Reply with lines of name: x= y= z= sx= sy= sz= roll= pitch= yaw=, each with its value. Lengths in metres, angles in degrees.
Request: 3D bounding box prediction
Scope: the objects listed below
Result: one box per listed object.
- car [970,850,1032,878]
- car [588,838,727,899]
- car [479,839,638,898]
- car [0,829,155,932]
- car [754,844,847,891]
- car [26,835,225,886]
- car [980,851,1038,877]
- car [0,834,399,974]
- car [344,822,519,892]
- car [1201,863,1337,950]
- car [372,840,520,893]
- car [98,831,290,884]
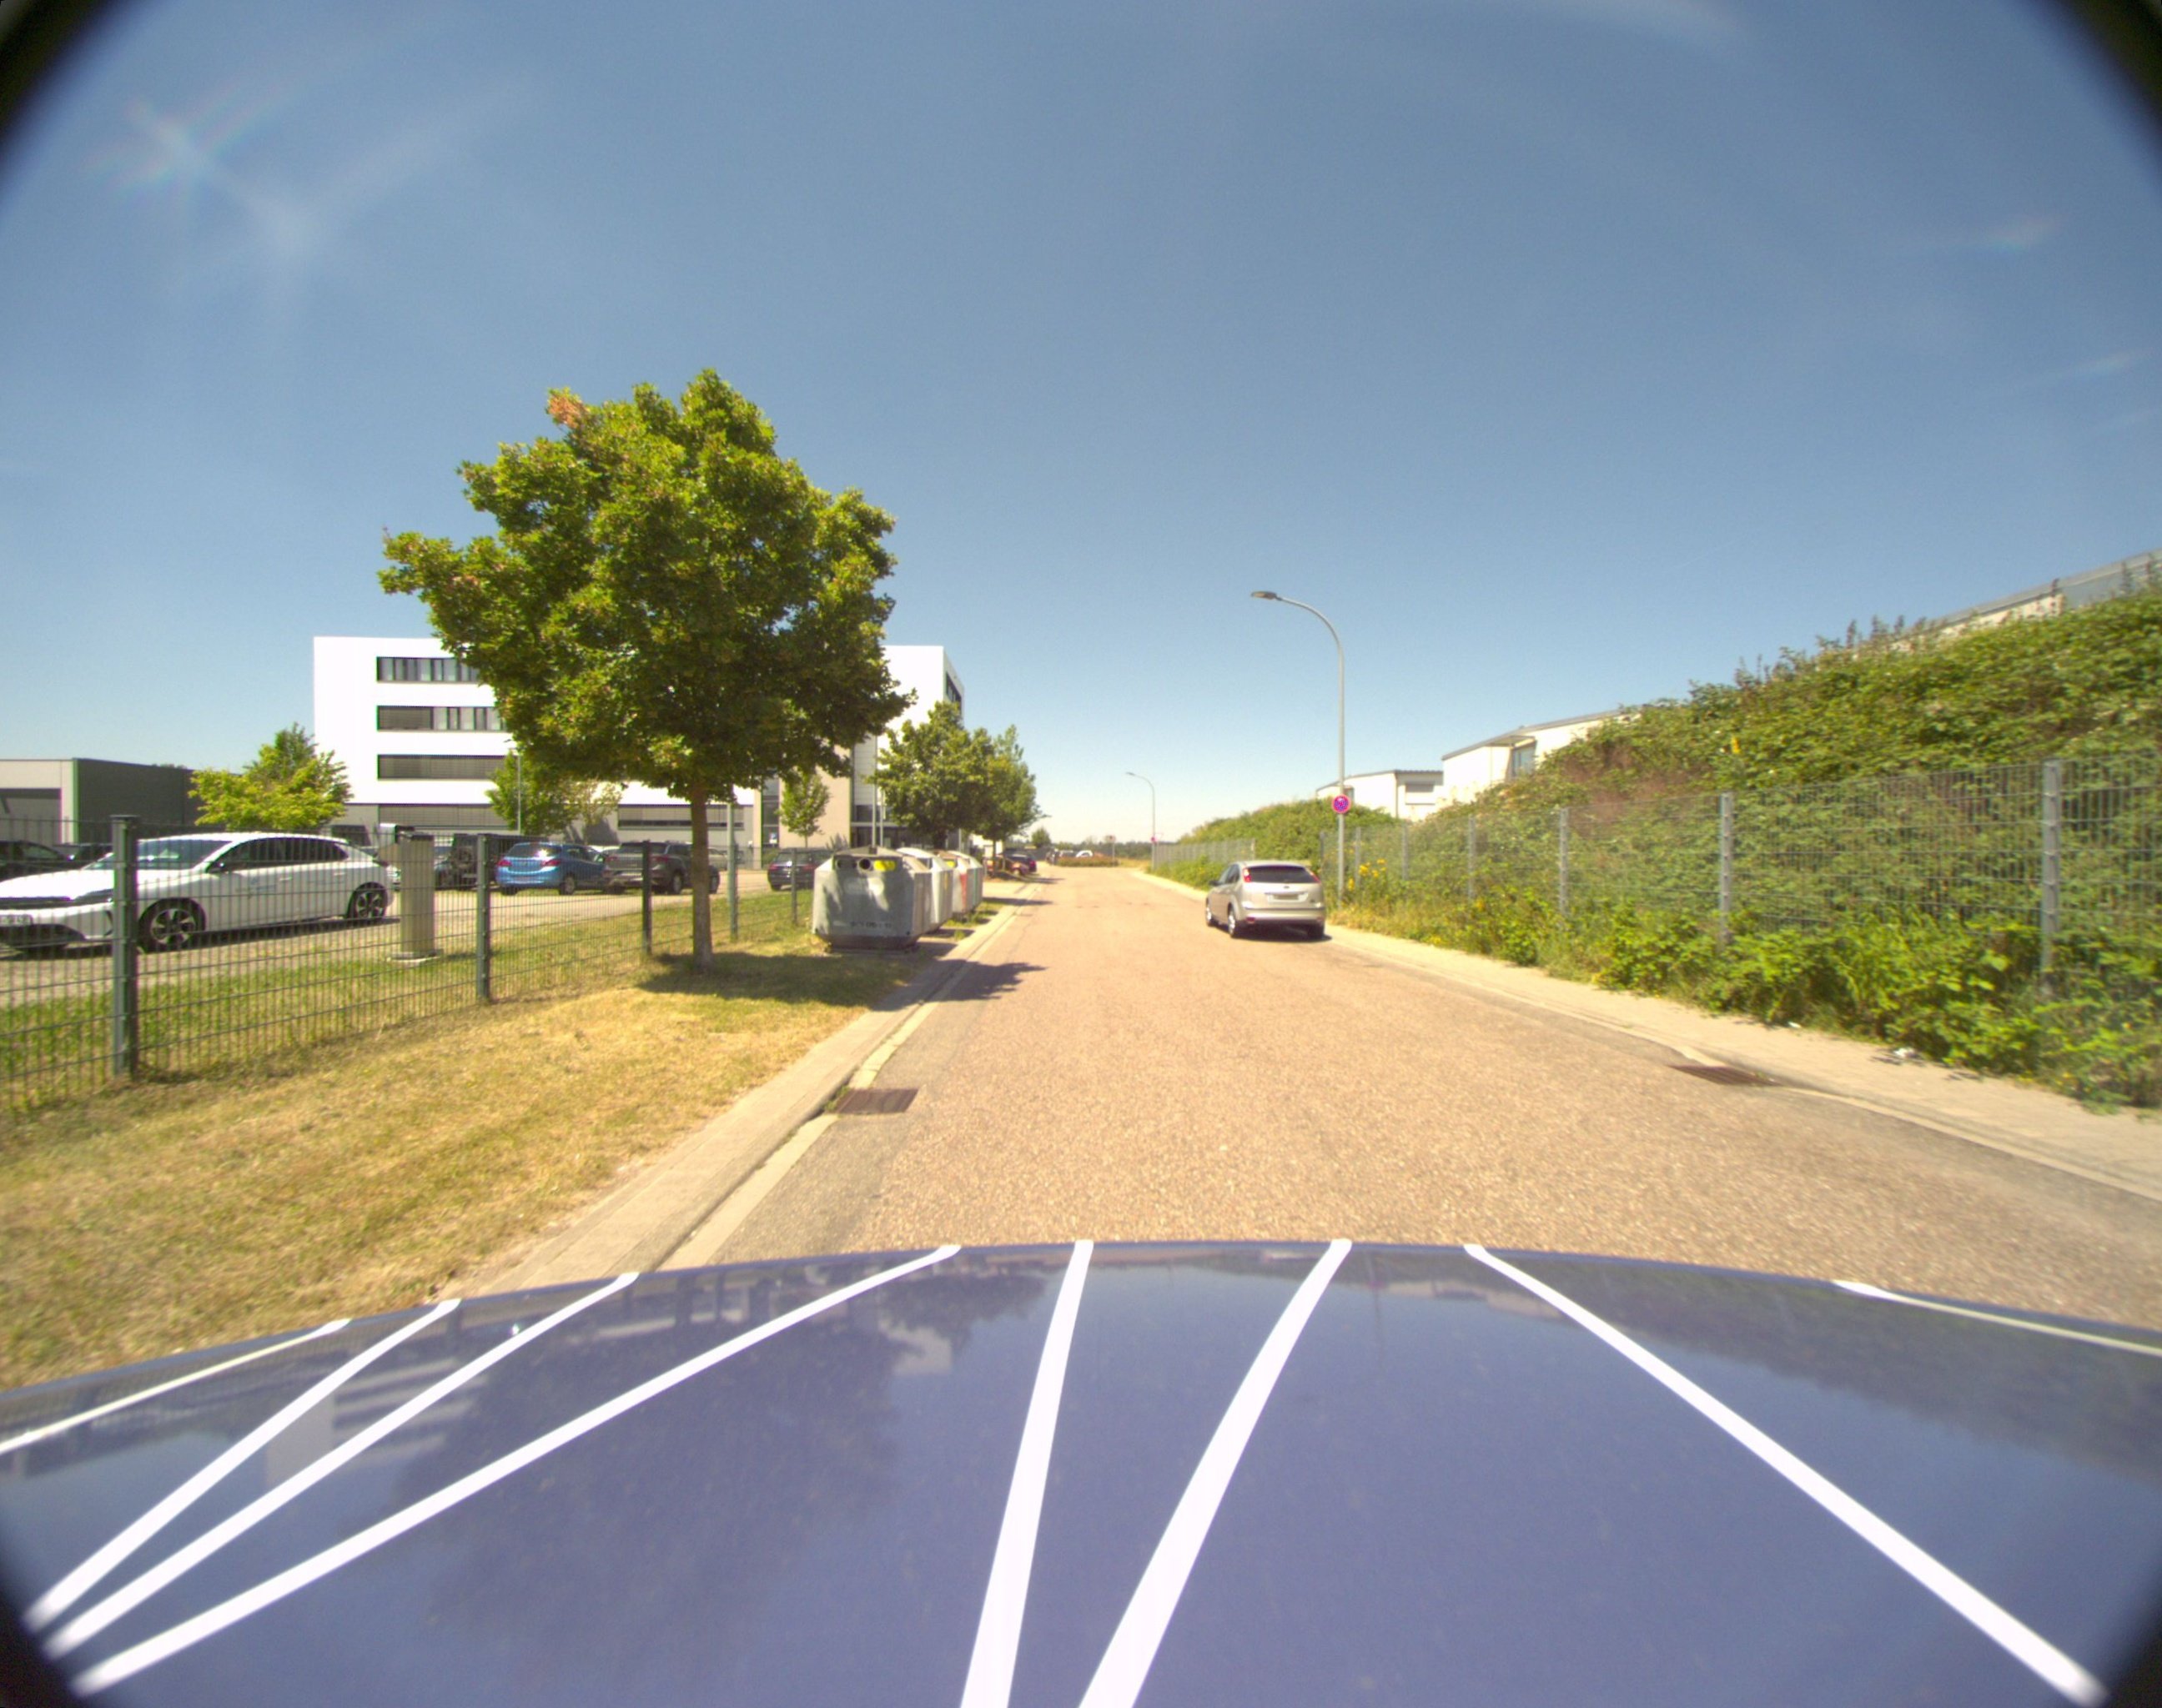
car: x=-5.370 y=0.644 z=51.308 sx=3.998 sy=1.694 sz=1.890 roll=-2 pitch=1 yaw=-2
car: x=-11.887 y=0.389 z=21.667 sx=1.831 sy=1.565 sz=3.924 roll=1 pitch=0 yaw=-1
car: x=-14.632 y=0.467 z=21.571 sx=1.831 sy=1.445 sz=3.926 roll=-2 pitch=-3 yaw=-1
car: x=-16.556 y=0.373 z=10.848 sx=1.854 sy=1.490 sz=3.925 roll=1 pitch=0 yaw=0
car: x=-9.744 y=0.541 z=26.676 sx=1.831 sy=1.445 sz=3.926 roll=-2 pitch=-3 yaw=-1
car: x=-32.471 y=0.301 z=26.018 sx=1.831 sy=1.527 sz=3.927 roll=-3 pitch=-3 yaw=1
car: x=-5.104 y=0.677 z=54.236 sx=3.998 sy=1.631 sz=1.890 roll=-2 pitch=1 yaw=-2
car: x=-11.956 y=0.505 z=10.283 sx=1.854 sy=1.490 sz=3.923 roll=0 pitch=2 yaw=0
car: x=-19.372 y=0.182 z=22.921 sx=1.831 sy=1.859 sz=3.927 roll=-3 pitch=-3 yaw=1
car: x=3.684 y=0.962 z=15.583 sx=1.853 sy=1.510 sz=3.948 roll=1 pitch=0 yaw=1
car: x=-21.971 y=0.496 z=26.508 sx=1.831 sy=1.634 sz=3.927 roll=-2 pitch=-3 yaw=1
car: x=-29.681 y=0.181 z=25.638 sx=1.831 sy=1.527 sz=3.927 roll=-3 pitch=-3 yaw=1
